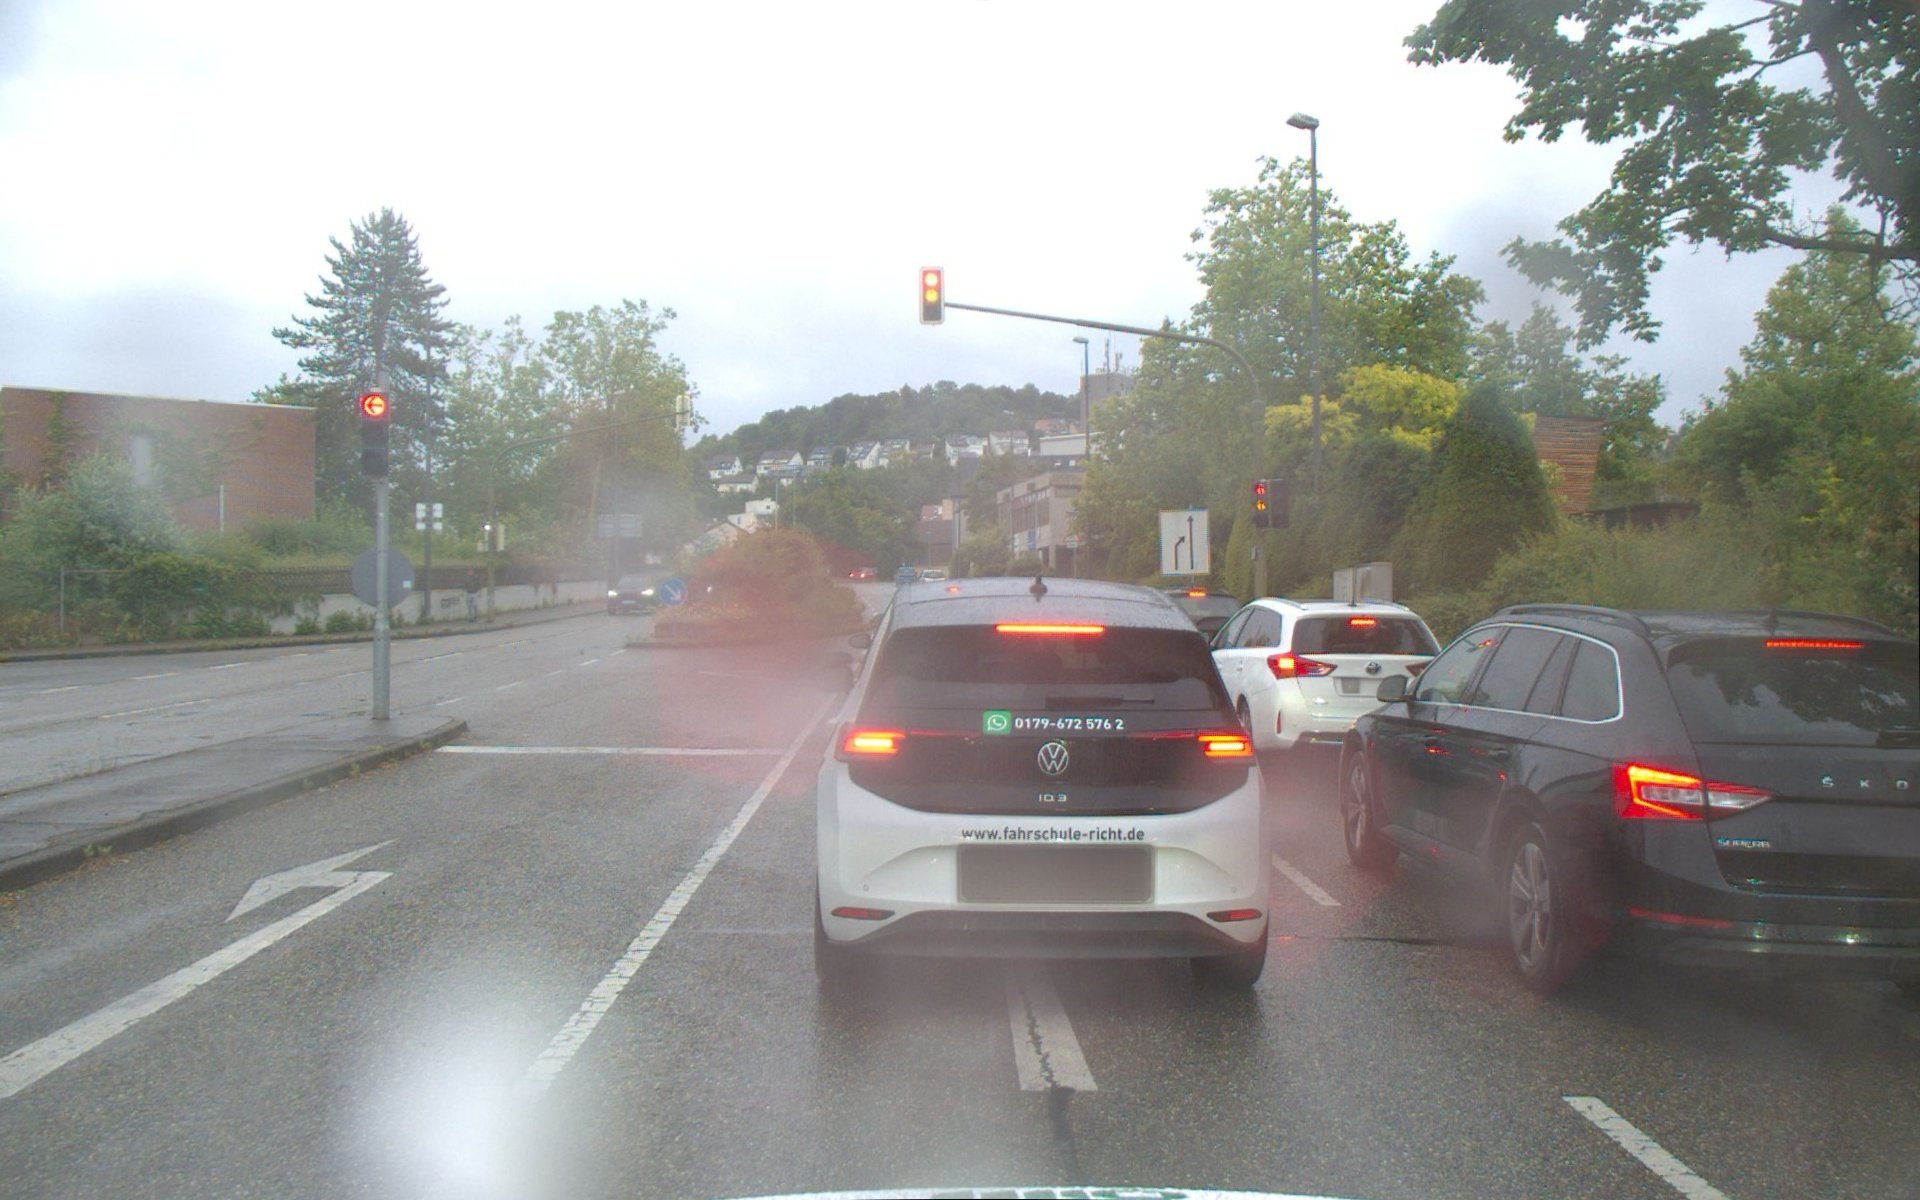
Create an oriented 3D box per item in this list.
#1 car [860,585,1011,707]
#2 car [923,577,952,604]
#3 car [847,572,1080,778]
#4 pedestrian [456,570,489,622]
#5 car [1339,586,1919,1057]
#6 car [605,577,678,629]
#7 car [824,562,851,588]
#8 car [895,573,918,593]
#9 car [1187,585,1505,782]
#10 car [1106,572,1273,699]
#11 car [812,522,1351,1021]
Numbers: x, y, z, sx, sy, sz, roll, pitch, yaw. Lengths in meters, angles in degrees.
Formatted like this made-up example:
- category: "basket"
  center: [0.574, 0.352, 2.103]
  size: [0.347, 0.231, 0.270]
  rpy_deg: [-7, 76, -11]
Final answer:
- category: "car"
  center: [-0.342, 0.543, 22.048]
  size: [1.800, 1.424, 3.830]
  rpy_deg: [1, 1, -1]
- category: "car"
  center: [-1.320, -0.558, 96.024]
  size: [1.549, 1.492, 3.998]
  rpy_deg: [-1, 0, -2]
- category: "car"
  center: [-0.021, 0.573, 15.150]
  size: [1.800, 1.582, 4.174]
  rpy_deg: [1, 1, -1]
- category: "pedestrian"
  center: [-15.526, -0.134, 52.686]
  size: [0.744, 1.595, 0.825]
  rpy_deg: [-2, 0, -2]
- category: "car"
  center: [3.112, 0.706, 7.512]
  size: [1.800, 1.492, 4.350]
  rpy_deg: [1, 1, 1]
- category: "car"
  center: [-12.045, 0.108, 62.844]
  size: [1.953, 1.836, 3.999]
  rpy_deg: [-3, 0, -1]
- category: "car"
  center: [-10.367, -2.082, 140.211]
  size: [1.953, 2.049, 3.999]
  rpy_deg: [1, -1, -1]
- category: "car"
  center: [-4.197, -1.346, 130.520]
  size: [1.726, 1.443, 3.747]
  rpy_deg: [-1, 1, -3]
- category: "car"
  center: [3.300, 0.638, 14.977]
  size: [1.800, 1.492, 4.116]
  rpy_deg: [1, 1, -1]
- category: "car"
  center: [3.144, 0.464, 23.401]
  size: [1.739, 1.609, 3.999]
  rpy_deg: [1, 0, -1]
- category: "car"
  center: [0.363, 0.563, 7.936]
  size: [1.800, 1.657, 4.614]
  rpy_deg: [1, 1, -1]
